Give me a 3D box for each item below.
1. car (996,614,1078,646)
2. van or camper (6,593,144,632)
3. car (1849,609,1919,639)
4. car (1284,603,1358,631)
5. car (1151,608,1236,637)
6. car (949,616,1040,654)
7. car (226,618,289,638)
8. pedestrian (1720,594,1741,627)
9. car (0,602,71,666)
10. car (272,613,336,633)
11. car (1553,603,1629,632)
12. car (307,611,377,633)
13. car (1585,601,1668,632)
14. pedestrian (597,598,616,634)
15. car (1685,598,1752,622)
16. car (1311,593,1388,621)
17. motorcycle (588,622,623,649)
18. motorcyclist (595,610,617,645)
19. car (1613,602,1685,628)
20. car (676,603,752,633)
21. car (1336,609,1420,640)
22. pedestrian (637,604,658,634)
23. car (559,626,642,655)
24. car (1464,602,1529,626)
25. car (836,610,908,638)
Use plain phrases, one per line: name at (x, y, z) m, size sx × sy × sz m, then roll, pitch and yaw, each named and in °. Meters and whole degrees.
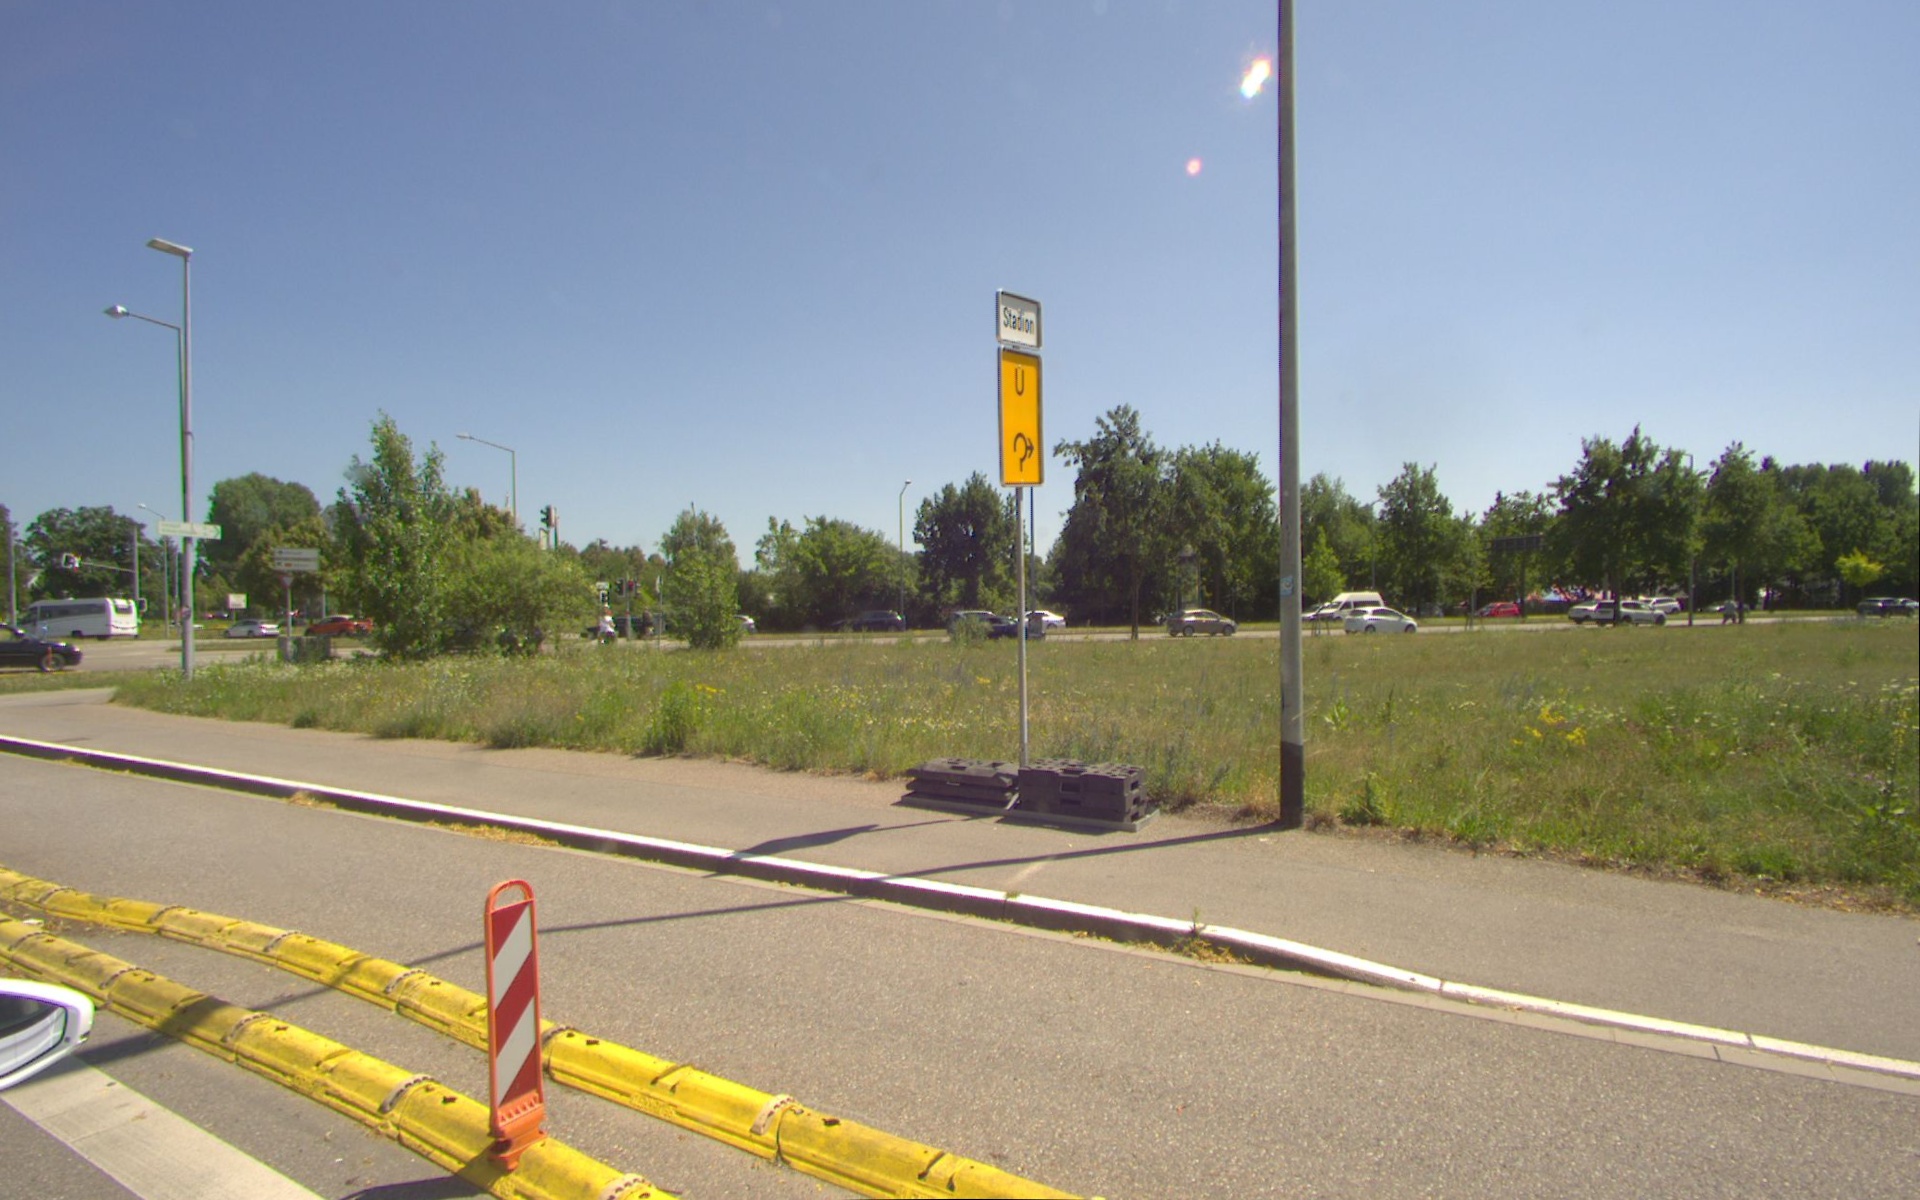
car at (5.053, 1.944, 65.747) m, size 4.993 × 2.040 × 1.997 m, roll 0°, pitch -1°, yaw -15°
van or camper at (-62.694, 0.913, 71.067) m, size 7.366 × 2.728 × 2.514 m, roll 0°, pitch -1°, yaw -3°
car at (64.527, 1.639, 69.803) m, size 3.927 × 2.040 × 1.998 m, roll 0°, pitch -1°, yaw -14°
car at (27.357, 1.281, 75.936) m, size 4.993 × 2.040 × 1.997 m, roll 0°, pitch -1°, yaw -15°
car at (12.716, 1.225, 54.564) m, size 4.187 × 1.543 × 1.819 m, roll 0°, pitch -1°, yaw -17°
car at (1.604, 1.622, 47.179) m, size 3.929 × 1.750 × 1.787 m, roll 0°, pitch -1°, yaw -16°
car at (-52.245, 2.102, 74.460) m, size 3.722 × 1.442 × 1.655 m, roll 0°, pitch -1°, yaw 9°
pedestrian at (37.598, 0.516, 48.861) m, size 0.724 × 1.583 × 0.497 m, roll 0°, pitch 0°, yaw -18°
car at (-28.261, 0.975, 28.747) m, size 1.979 × 1.839 × 3.966 m, roll -1°, pitch -1°, yaw 43°
car at (-44.411, 1.535, 67.832) m, size 3.727 × 1.317 × 1.653 m, roll -1°, pitch -1°, yaw 18°
car at (41.282, 1.129, 65.522) m, size 4.189 × 1.839 × 1.996 m, roll 0°, pitch -1°, yaw -18°
car at (-38.125, 1.361, 61.815) m, size 3.727 × 1.317 × 1.653 m, roll -1°, pitch -1°, yaw 18°
car at (40.172, 1.006, 60.356) m, size 4.189 × 1.839 × 1.996 m, roll 0°, pitch -1°, yaw -18°
pedestrian at (-18.625, 0.848, 52.795) m, size 0.726 × 1.894 × 0.648 m, roll -1°, pitch -1°, yaw 34°
car at (66.703, 0.889, 88.069) m, size 4.993 × 2.040 × 1.997 m, roll 0°, pitch -1°, yaw -15°
car at (28.319, 0.527, 72.817) m, size 4.993 × 2.040 × 1.997 m, roll 0°, pitch -1°, yaw -15°
motorcycle at (-13.145, 1.319, 37.187) m, size 0.619 × 0.982 × 1.709 m, roll 0°, pitch -1°, yaw 3°
motorcyclist at (-13.170, 1.029, 37.232) m, size 0.570 × 1.306 × 0.615 m, roll 0°, pitch -1°, yaw 3°
car at (55.427, 1.222, 80.547) m, size 4.993 × 2.040 × 1.997 m, roll 0°, pitch -1°, yaw -15°
car at (-14.564, 1.063, 59.462) m, size 4.298 × 1.739 × 1.998 m, roll 0°, pitch -1°, yaw -13°
car at (22.370, 1.297, 53.584) m, size 3.939 × 1.641 × 1.678 m, roll 0°, pitch -1°, yaw -14°
pedestrian at (-16.622, 0.995, 53.298) m, size 0.813 × 1.583 × 0.788 m, roll -1°, pitch -1°, yaw 41°
car at (-22.133, 2.484, 61.833) m, size 4.607 × 1.710 × 1.735 m, roll 0°, pitch -1°, yaw -13°
car at (43.165, 1.157, 80.570) m, size 4.521 × 1.874 × 1.998 m, roll 0°, pitch -1°, yaw -15°
car at (-5.773, 1.555, 65.561) m, size 4.521 × 1.829 × 1.998 m, roll 0°, pitch -1°, yaw -12°
